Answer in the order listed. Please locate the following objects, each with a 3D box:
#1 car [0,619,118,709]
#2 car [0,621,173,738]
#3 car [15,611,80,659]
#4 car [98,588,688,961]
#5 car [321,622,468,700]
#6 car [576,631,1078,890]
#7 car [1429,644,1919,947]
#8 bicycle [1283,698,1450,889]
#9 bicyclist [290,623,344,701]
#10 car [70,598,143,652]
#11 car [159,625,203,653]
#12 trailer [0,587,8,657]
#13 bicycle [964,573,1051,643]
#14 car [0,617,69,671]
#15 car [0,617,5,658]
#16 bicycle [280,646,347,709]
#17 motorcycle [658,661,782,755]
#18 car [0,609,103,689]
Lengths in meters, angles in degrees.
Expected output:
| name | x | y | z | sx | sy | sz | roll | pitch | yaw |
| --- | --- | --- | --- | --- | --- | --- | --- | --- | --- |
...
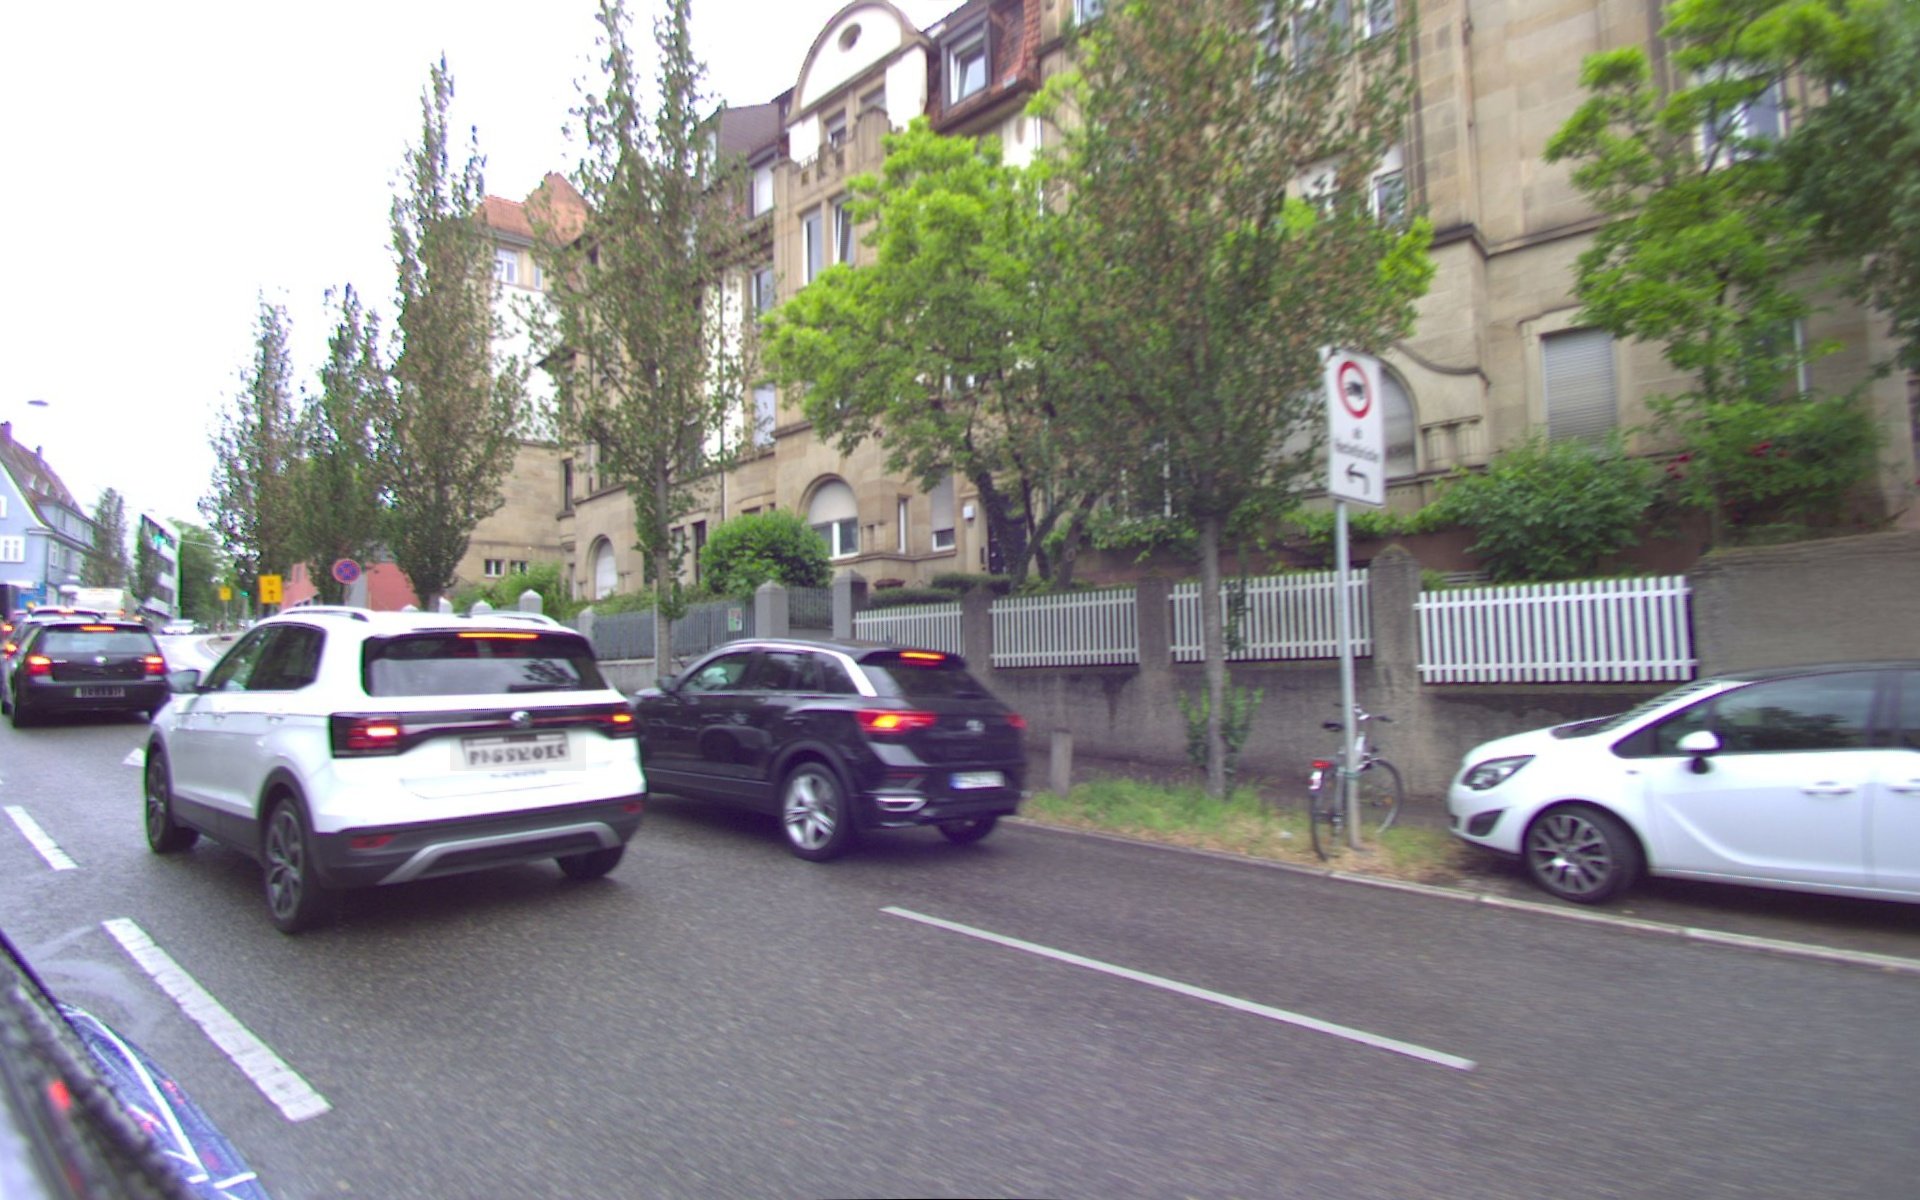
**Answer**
| name | x | y | z | sx | sy | sz | roll | pitch | yaw |
| --- | --- | --- | --- | --- | --- | --- | --- | --- | --- |
| car | -17.108 | 1.214 | 18.906 | 1.692 | 1.491 | 4.116 | 6 | -7 | -44 |
| car | -12.734 | 1.073 | 14.525 | 3.887 | 1.442 | 1.742 | -2 | -4 | 45 |
| car | -35.007 | 1.397 | 38.897 | 1.598 | 1.675 | 4.120 | 6 | -7 | -40 |
| car | -3.628 | 0.831 | 6.173 | 4.096 | 1.529 | 1.754 | -3 | -5 | 40 |
| car | -13.158 | 1.364 | 23.469 | 3.829 | 1.608 | 1.974 | -2 | -1 | 44 |
| car | -1.179 | 1.075 | 7.942 | 3.867 | 1.529 | 1.726 | -2 | -7 | 41 |
| car | 5.411 | 1.075 | 6.224 | 4.295 | 1.571 | 1.725 | -2 | -2 | 37 |
| bicycle | 3.215 | 1.416 | 7.902 | 0.657 | 1.245 | 1.956 | -3 | -5 | 39 |
| bicyclist | -13.332 | 1.290 | 20.977 | 0.991 | 1.569 | 0.648 | -3 | -5 | 42 |
| car | -44.993 | 1.375 | 53.460 | 2.101 | 2.525 | 5.423 | 5 | -6 | -33 |
| car | -64.475 | 3.266 | 83.869 | 2.100 | 2.042 | 5.424 | 4 | -6 | -30 |
| trailer | -43.371 | 1.011 | 44.644 | 1.938 | 3.065 | 2.367 | 1 | -3 | -42 |
| bicycle | 0.948 | 0.191 | 19.652 | 0.657 | 1.245 | 1.956 | -3 | -5 | 39 |
| car | -28.975 | 1.398 | 31.445 | 1.599 | 1.535 | 4.116 | 6 | -7 | -44 |
| car | -41.291 | 1.610 | 42.301 | 1.897 | 1.664 | 4.139 | 1 | -3 | -42 |
| bicycle | -13.500 | 1.596 | 21.110 | 1.981 | 1.245 | 0.648 | -3 | -5 | 43 |
| motorcycle | -3.457 | 1.512 | 14.481 | 1.980 | 1.245 | 0.649 | -3 | -5 | 39 |
| car | -22.025 | 1.179 | 24.426 | 1.633 | 1.721 | 4.116 | 6 | -6 | -44 |
